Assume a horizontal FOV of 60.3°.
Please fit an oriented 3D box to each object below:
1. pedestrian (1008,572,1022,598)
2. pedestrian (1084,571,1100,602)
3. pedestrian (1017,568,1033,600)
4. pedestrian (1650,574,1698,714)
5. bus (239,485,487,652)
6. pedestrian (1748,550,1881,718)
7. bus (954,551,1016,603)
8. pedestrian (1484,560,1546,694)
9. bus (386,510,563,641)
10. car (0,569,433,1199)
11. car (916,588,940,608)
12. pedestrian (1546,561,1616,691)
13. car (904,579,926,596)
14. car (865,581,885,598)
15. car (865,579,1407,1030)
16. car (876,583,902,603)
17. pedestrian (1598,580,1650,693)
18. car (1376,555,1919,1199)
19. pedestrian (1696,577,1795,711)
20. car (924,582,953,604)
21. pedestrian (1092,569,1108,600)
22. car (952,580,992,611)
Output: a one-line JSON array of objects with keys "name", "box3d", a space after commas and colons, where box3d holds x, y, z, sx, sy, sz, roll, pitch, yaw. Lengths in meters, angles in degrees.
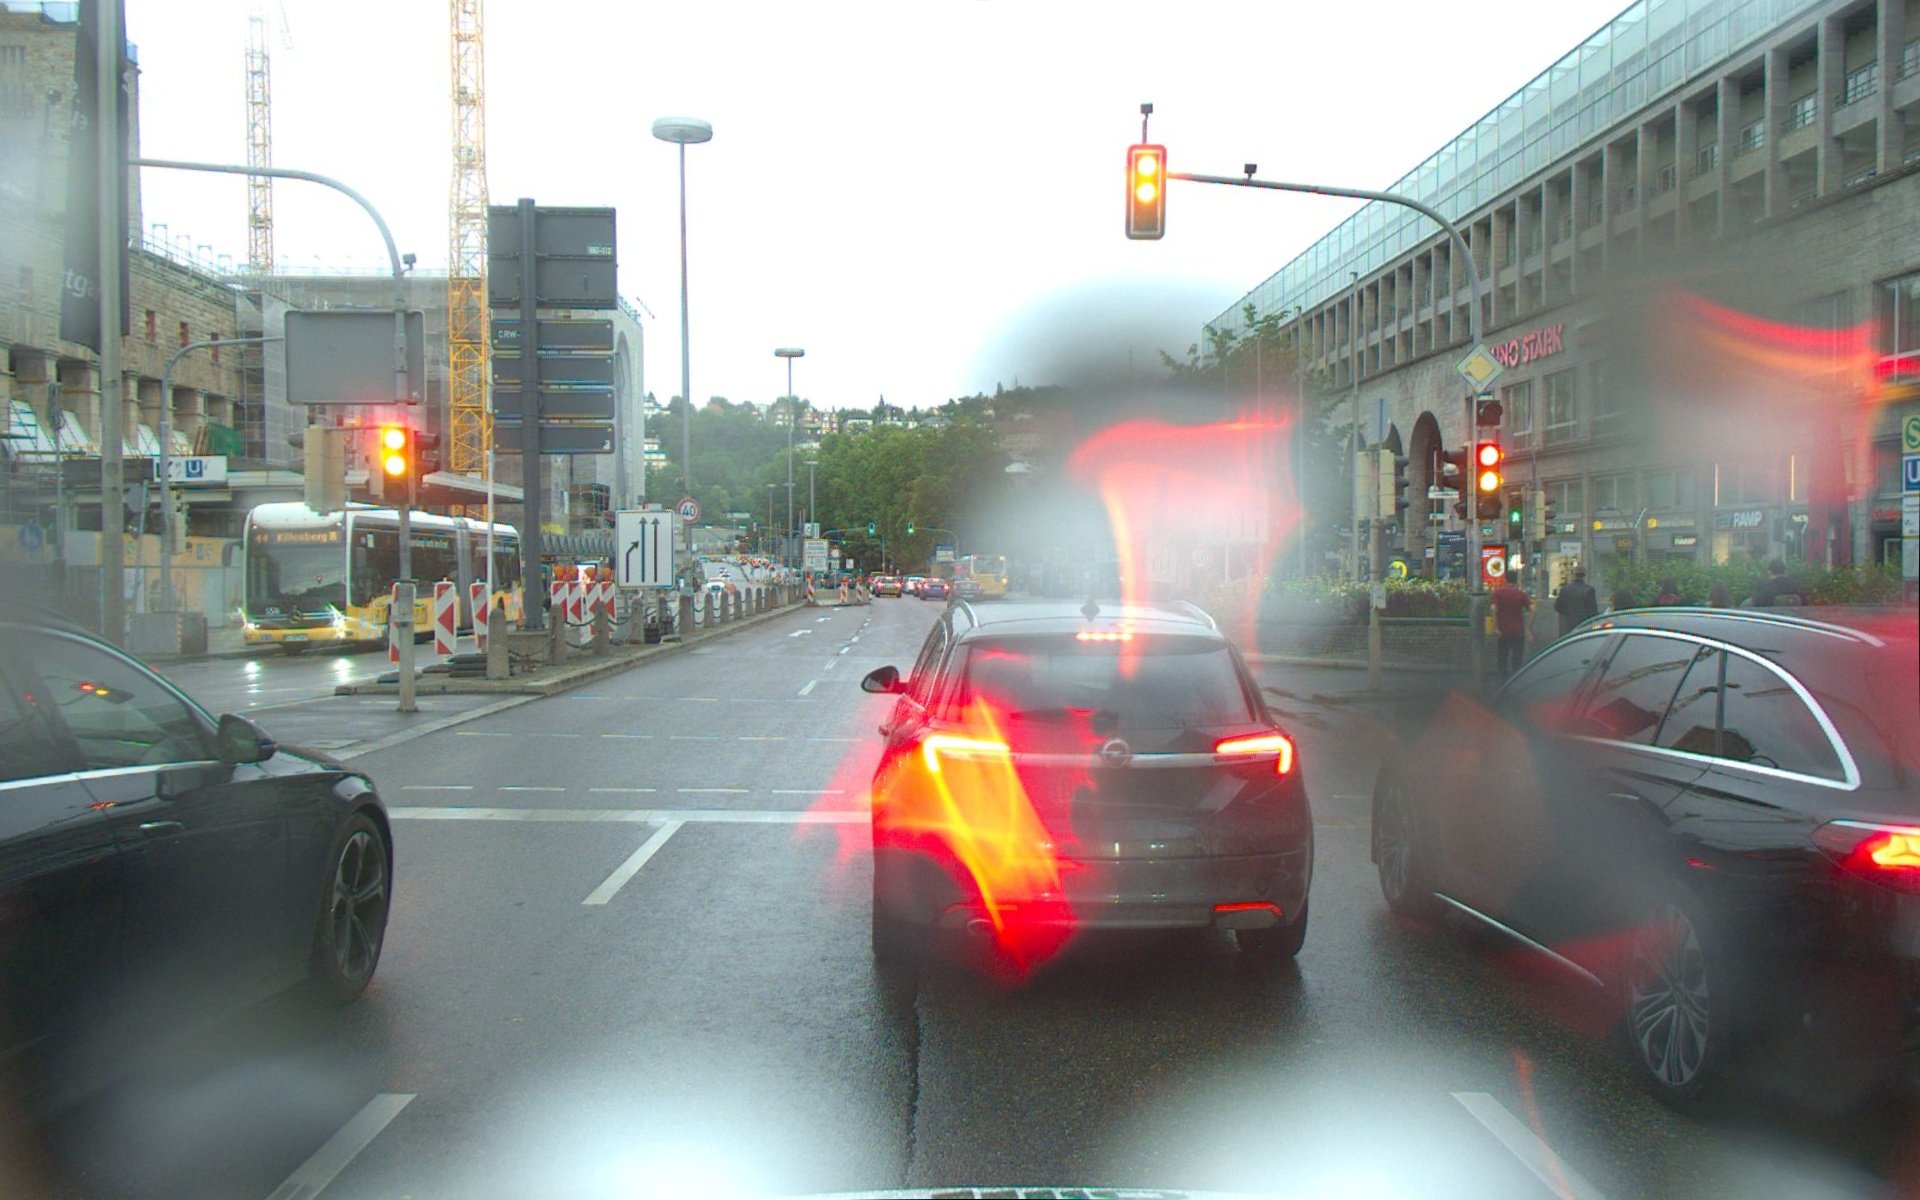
[{"name": "pedestrian", "box3d": [4.863, -1.319, 146.034, 1.174, 2.186, 1.228, 1, 0, 0]}, {"name": "pedestrian", "box3d": [7.614, -0.779, 95.360, 0.748, 1.720, 0.824, 1, 0, -5]}, {"name": "pedestrian", "box3d": [5.206, -1.271, 132.409, 1.174, 2.478, 1.228, 1, 0, 0]}, {"name": "pedestrian", "box3d": [9.306, 0.568, 21.550, 0.472, 1.782, 0.665, -2, 0, 27]}, {"name": "bus", "box3d": [-14.729, -0.689, 41.863, 2.614, 3.665, 10.237, 1, 0, -1]}, {"name": "pedestrian", "box3d": [9.415, 0.366, 18.253, 1.074, 1.782, 0.653, -2, 0, -4]}, {"name": "bus", "box3d": [1.688, -1.588, 120.935, 4.089, 3.529, 14.651, 1, 0, -1]}, {"name": "pedestrian", "box3d": [7.500, 0.358, 22.359, 0.560, 1.783, 0.676, 1, 0, 42]}, {"name": "bus", "box3d": [-15.019, -0.684, 52.117, 2.614, 3.665, 10.209, 1, 0, -1]}, {"name": "car", "box3d": [-2.960, 0.666, 4.184, 1.817, 1.495, 4.586, 1, 0, -1]}, {"name": "car", "box3d": [-2.434, -0.166, 125.743, 1.718, 1.422, 4.400, 1, 0, -2]}, {"name": "pedestrian", "box3d": [8.490, 0.352, 22.619, 0.740, 1.747, 0.466, 1, 0, -5]}, {"name": "car", "box3d": [-3.869, -1.047, 141.970, 1.808, 1.422, 3.563, 1, 0, -1]}, {"name": "car", "box3d": [-7.682, -0.943, 149.885, 1.723, 1.422, 3.563, 1, 0, -1]}, {"name": "car", "box3d": [0.564, 0.704, 7.653, 1.837, 1.512, 3.999, 1, 0, -1]}, {"name": "car", "box3d": [-5.089, -0.479, 118.903, 1.808, 1.422, 3.563, 1, 0, -1]}, {"name": "pedestrian", "box3d": [8.719, 0.476, 21.732, 0.617, 1.452, 0.490, 1, 0, 21]}, {"name": "car", "box3d": [2.971, 0.682, 6.049, 1.756, 1.528, 4.628, 1, 0, 0]}, {"name": "pedestrian", "box3d": [9.961, 0.551, 21.000, 0.778, 1.654, 0.899, 1, 0, -4]}, {"name": "car", "box3d": [-1.459, -0.438, 110.044, 1.718, 1.422, 4.645, 1, 0, -3]}, {"name": "pedestrian", "box3d": [7.996, -0.889, 94.399, 0.748, 1.720, 0.824, 1, 0, -5]}, {"name": "car", "box3d": [0.558, -0.214, 78.785, 1.808, 1.422, 3.666, 1, 0, -1]}]
